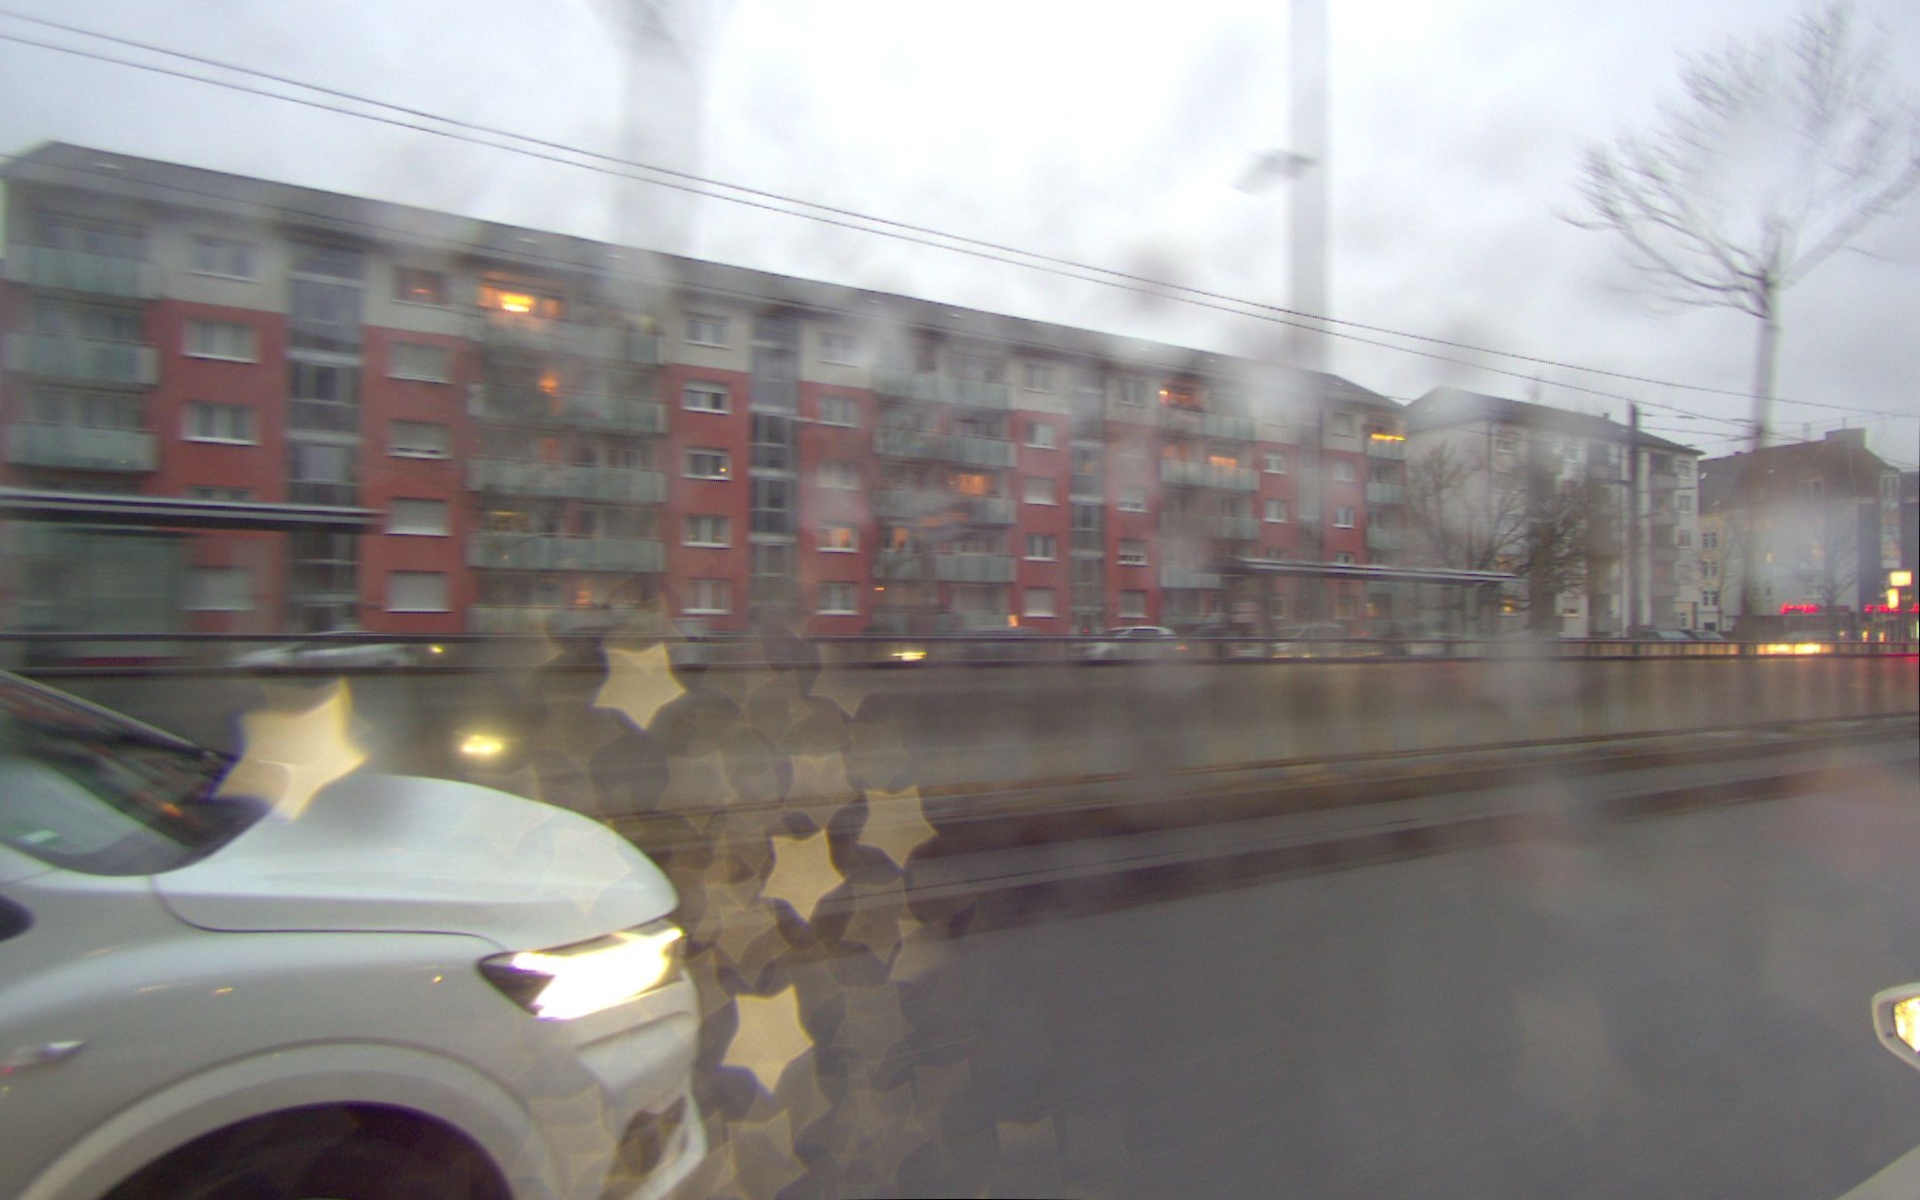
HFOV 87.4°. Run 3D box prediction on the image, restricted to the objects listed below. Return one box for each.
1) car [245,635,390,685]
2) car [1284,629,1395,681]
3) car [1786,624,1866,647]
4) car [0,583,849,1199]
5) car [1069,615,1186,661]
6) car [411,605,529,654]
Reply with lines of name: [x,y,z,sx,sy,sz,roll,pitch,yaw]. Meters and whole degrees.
car: [-15.684,1.473,24.646,2.816,1.115,1.257,2,-1,-26]
car: [13.953,2.015,36.897,3.953,1.782,1.683,2,-1,-30]
car: [58.449,2.409,67.855,1.680,1.384,3.776,2,-1,-33]
car: [-2.367,0.692,1.783,3.951,1.485,1.701,2,-1,-29]
car: [6.201,1.425,37.182,4.102,1.564,1.717,2,-1,-30]
car: [-16.471,0.992,33.842,3.457,1.516,1.704,2,-1,-27]
